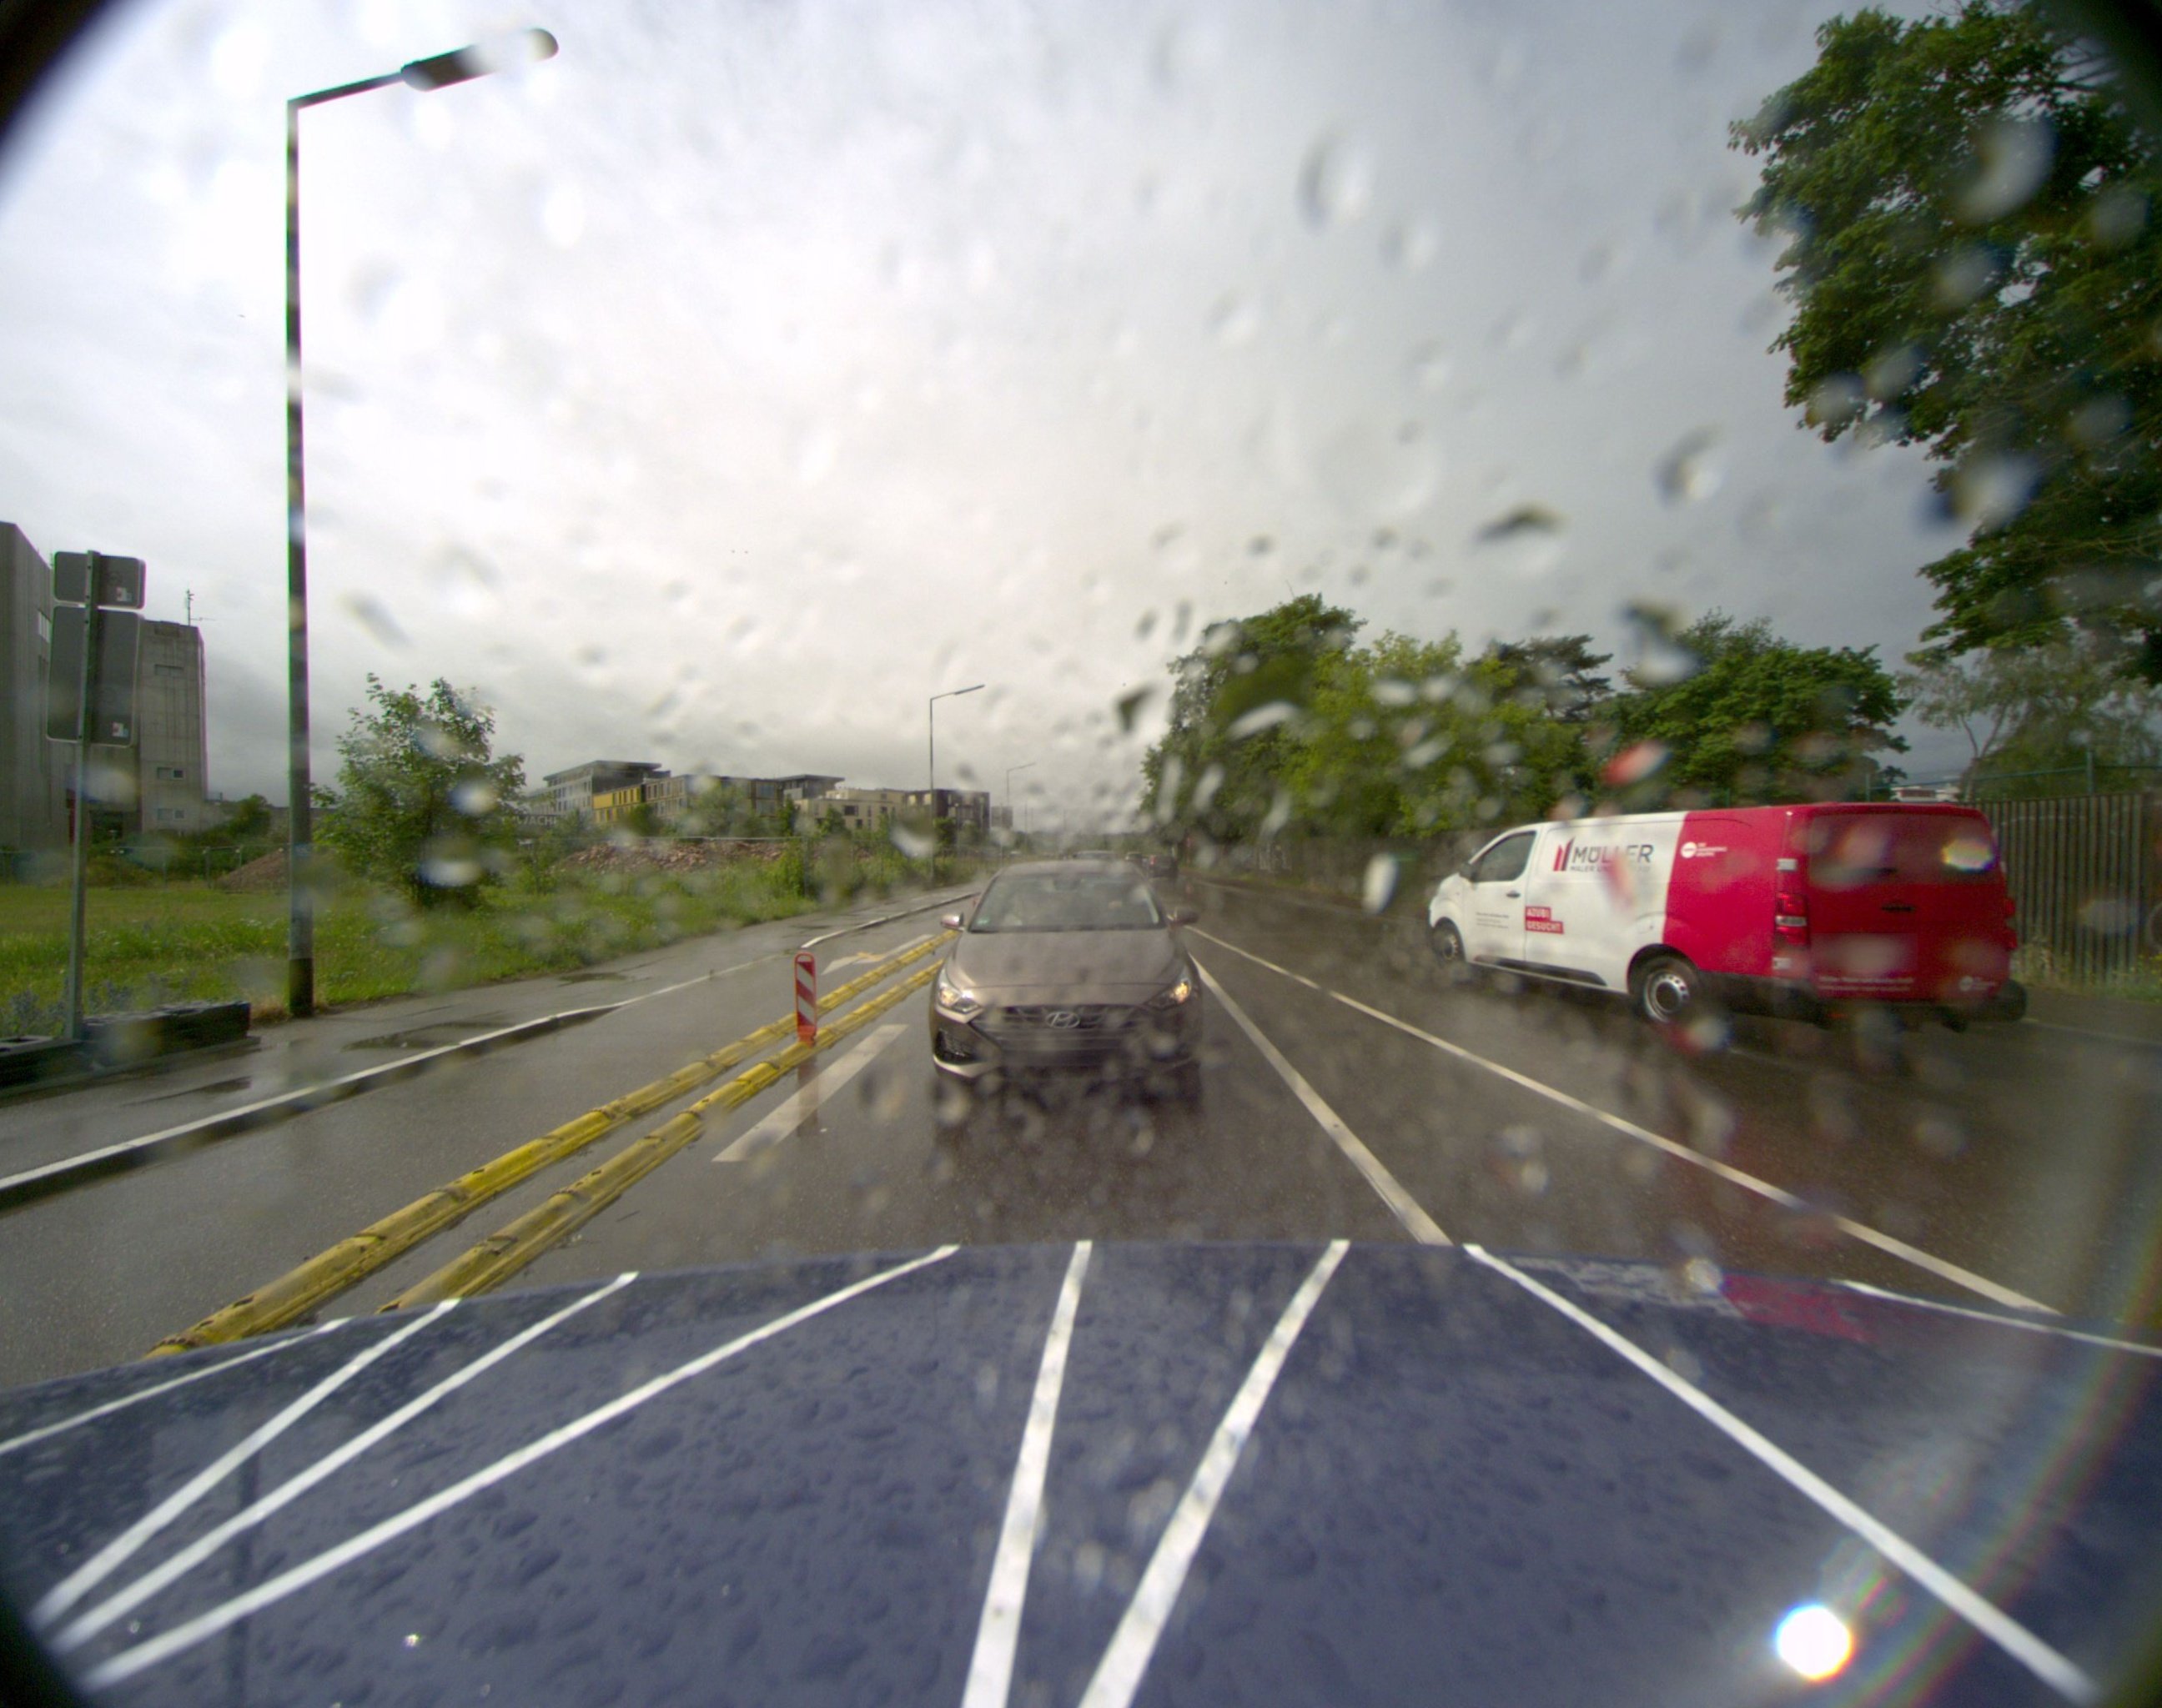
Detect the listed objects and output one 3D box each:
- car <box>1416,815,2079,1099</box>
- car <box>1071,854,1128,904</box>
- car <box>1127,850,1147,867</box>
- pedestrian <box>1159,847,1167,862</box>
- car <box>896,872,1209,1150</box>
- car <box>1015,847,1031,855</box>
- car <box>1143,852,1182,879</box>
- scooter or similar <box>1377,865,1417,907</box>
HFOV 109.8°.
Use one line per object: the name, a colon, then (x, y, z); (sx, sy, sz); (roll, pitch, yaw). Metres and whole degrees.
car: (5.588, 0.670, 7.614); (1.893, 1.865, 5.130); (0, 0, -4)
car: (0.594, 0.778, 25.486); (1.734, 1.539, 3.770); (-1, 0, 1)
car: (5.449, 0.384, 73.867); (1.785, 1.543, 4.427); (2, 0, 3)
pedestrian: (9.456, 0.044, 87.539); (0.841, 1.759, 0.644); (0, 1, 2)
car: (-0.176, 0.920, 6.159); (1.724, 1.423, 3.817); (-1, 0, -1)
car: (-16.032, -0.793, 210.199); (4.008, 2.002, 1.994); (-1, 1, -42)
car: (4.713, 0.640, 44.377); (1.879, 1.474, 4.177); (0, 1, 1)
scooter or similar: (9.023, 0.895, 21.734); (0.564, 1.156, 1.207); (0, 1, -6)
